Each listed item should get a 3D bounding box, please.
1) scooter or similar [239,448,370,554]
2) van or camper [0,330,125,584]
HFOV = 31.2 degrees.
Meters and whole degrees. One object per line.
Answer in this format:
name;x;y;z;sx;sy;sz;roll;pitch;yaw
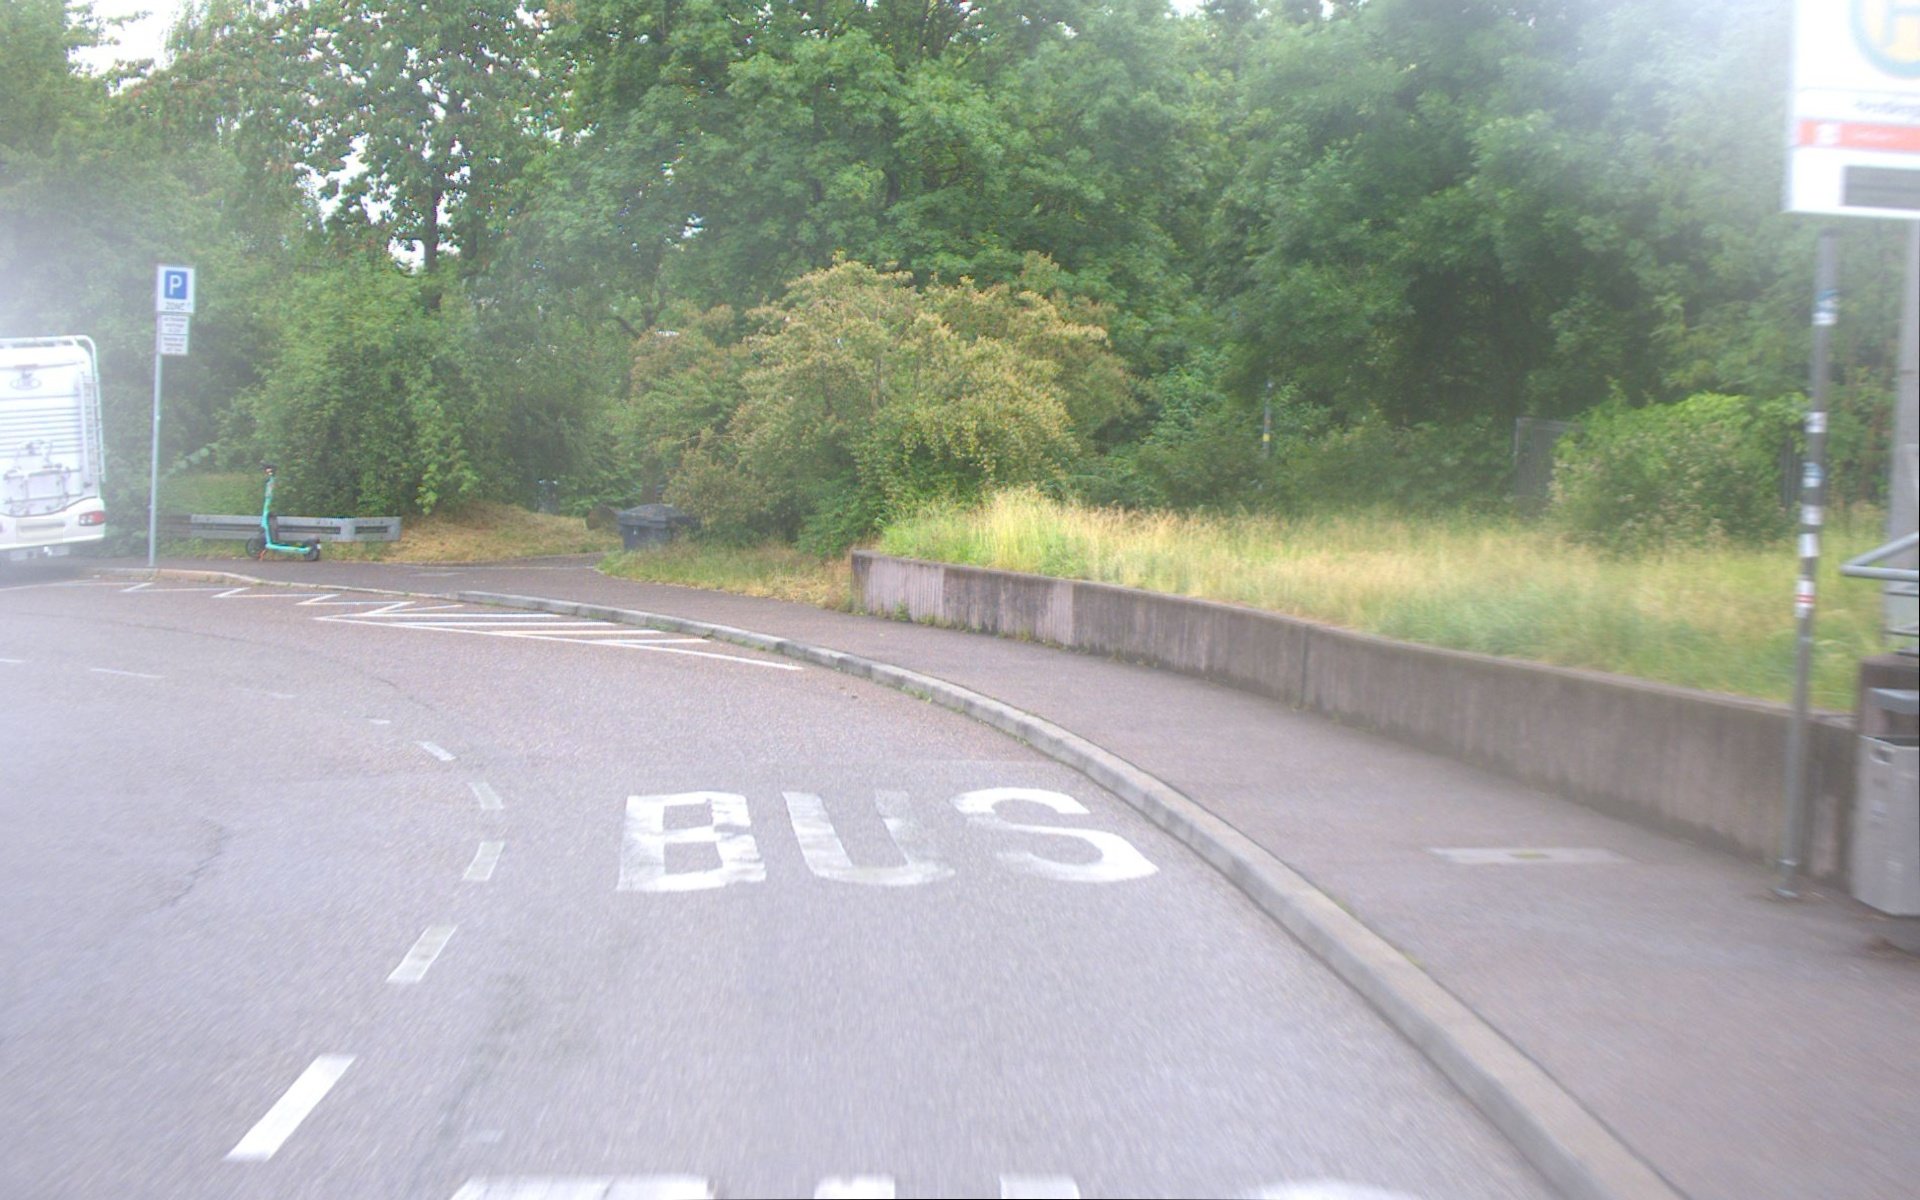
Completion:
scooter or similar;-8.159;-1.233;42.782;1.707;1.278;0.451;1;4;32
van or camper;-13.730;-1.850;43.207;6.272;2.933;2.394;2;8;31
